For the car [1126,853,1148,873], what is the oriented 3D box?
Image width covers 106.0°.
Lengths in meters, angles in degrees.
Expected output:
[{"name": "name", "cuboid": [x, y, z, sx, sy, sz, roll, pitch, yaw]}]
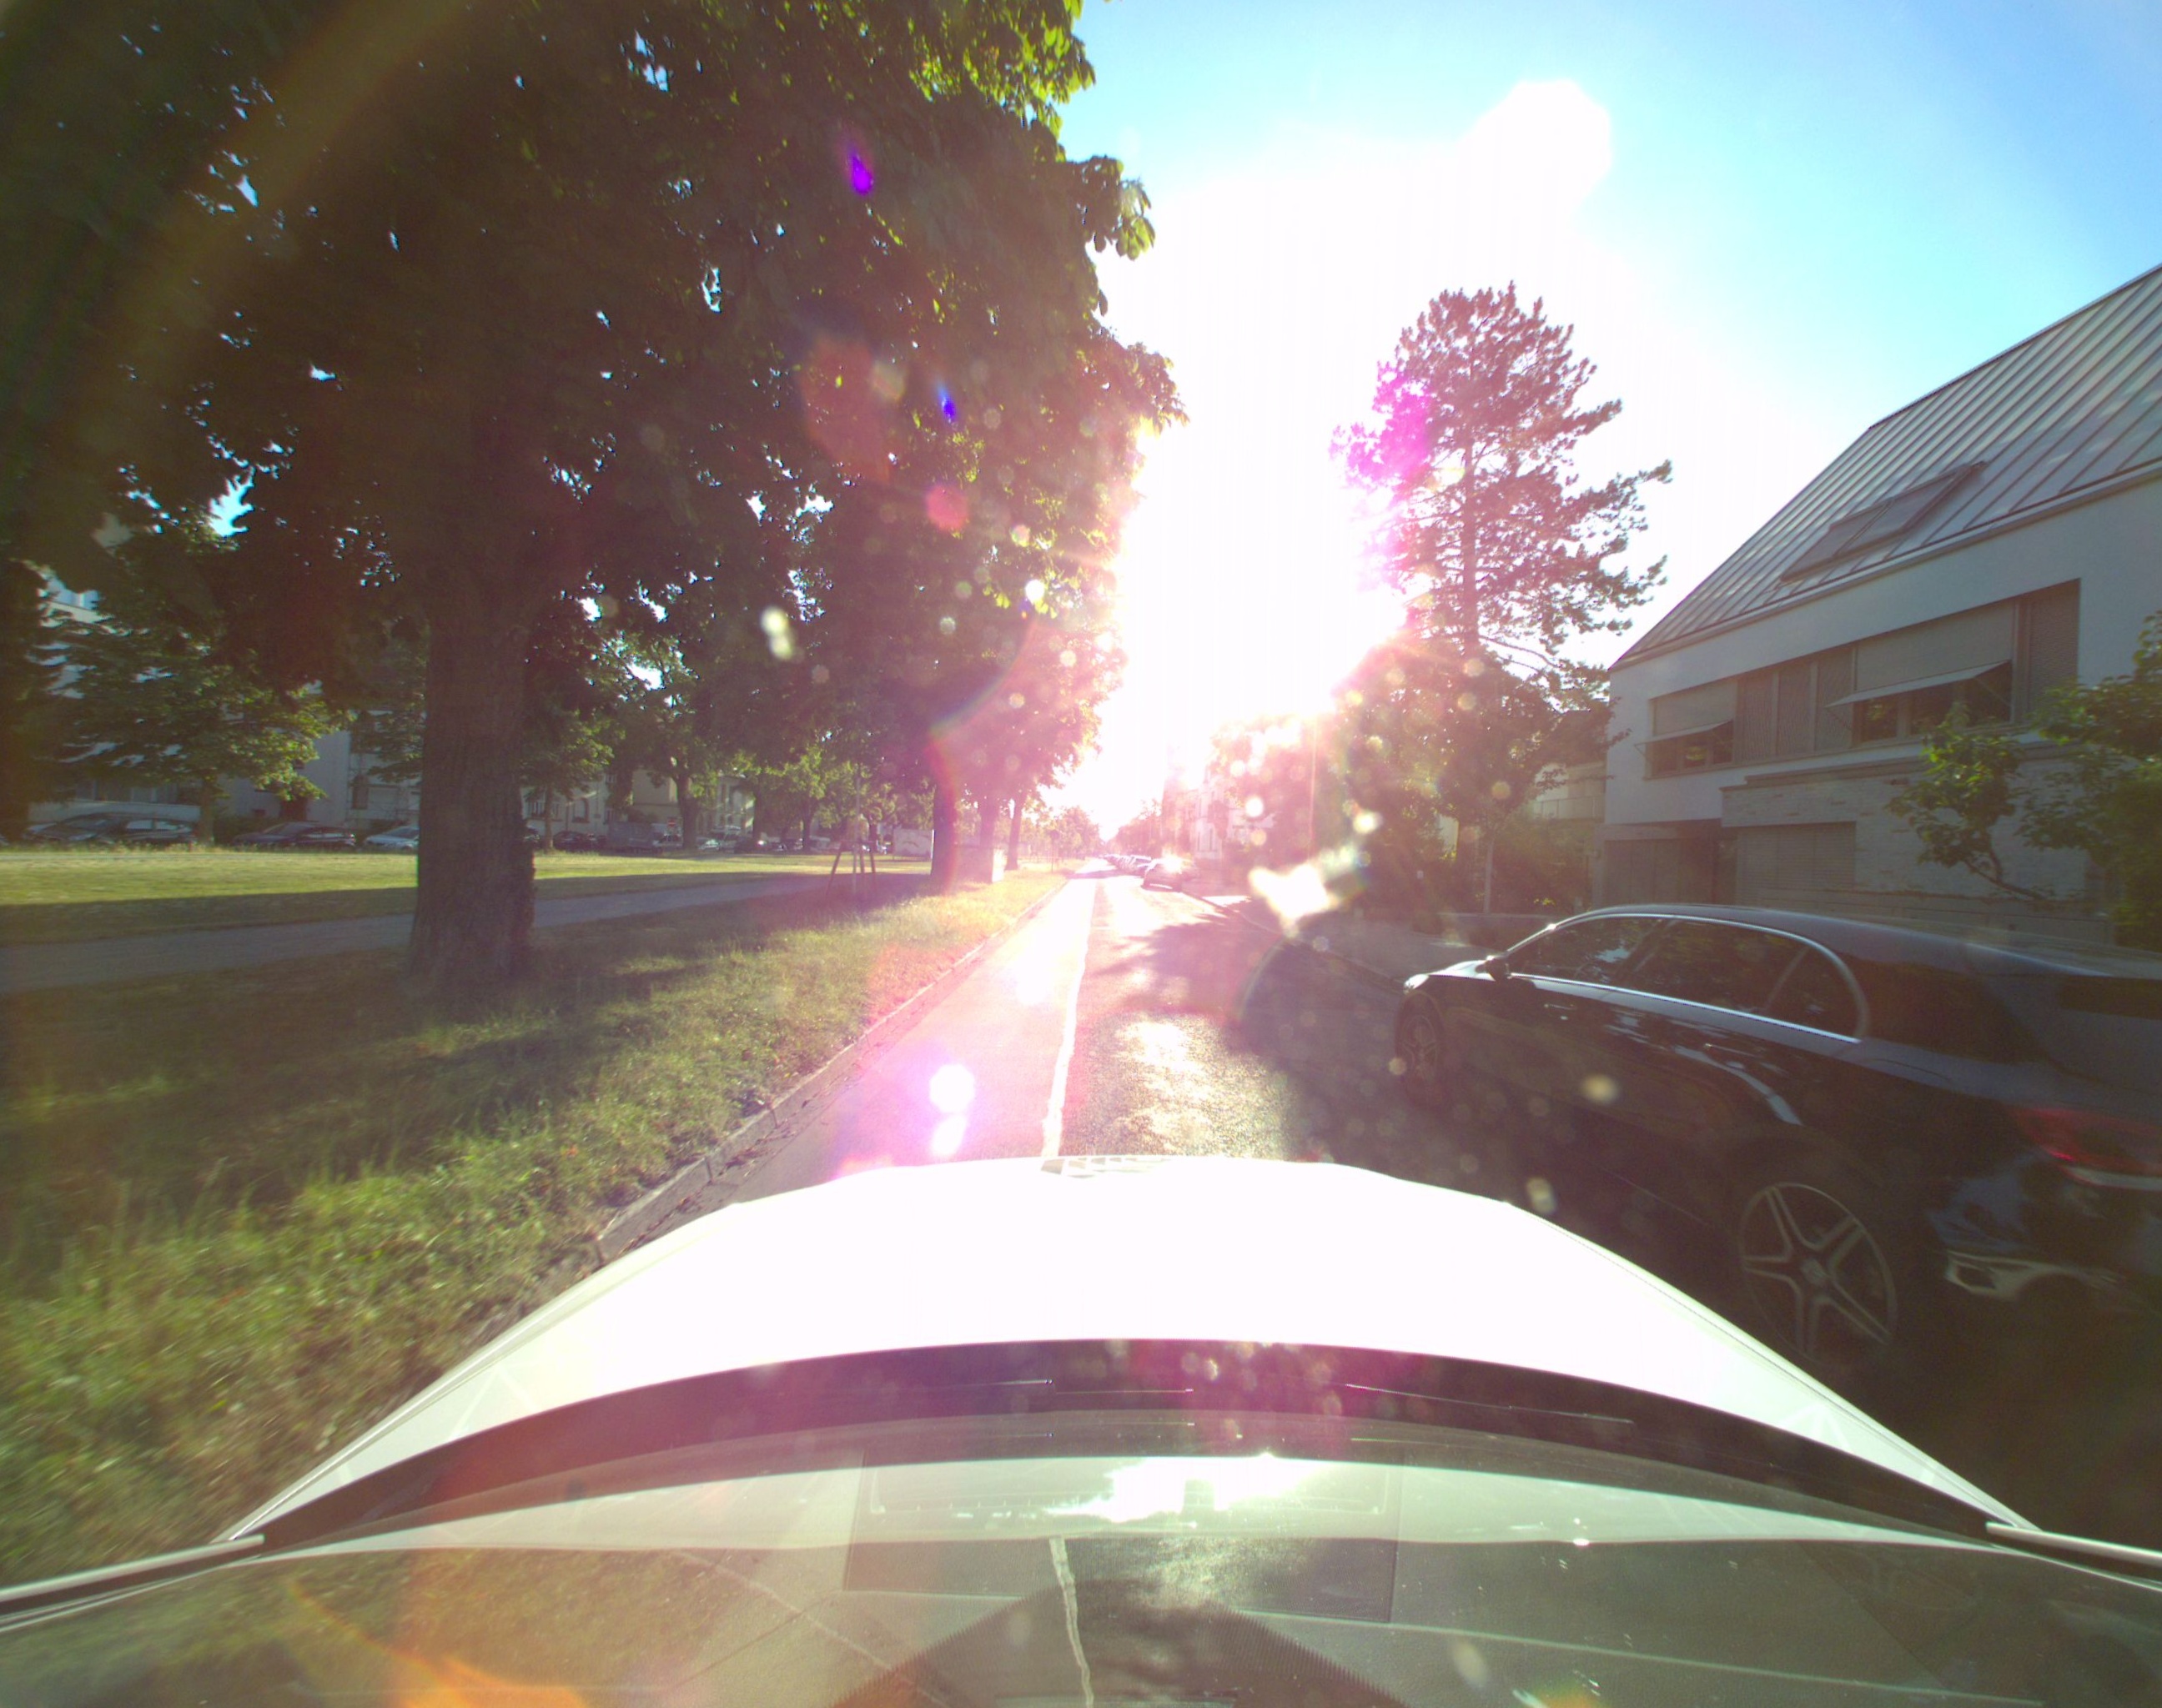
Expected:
[{"name": "car", "cuboid": [4.837, 0.771, 70.599, 1.679, 1.651, 4.101, 3, 0, 1]}]

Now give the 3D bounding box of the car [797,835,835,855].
[{"name": "car", "cuboid": [-31.447, -1.076, 96.869, 2.525, 2.236, 5.461, 2, 0, 2]}]

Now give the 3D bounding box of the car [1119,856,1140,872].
[{"name": "car", "cuboid": [4.731, 0.979, 79.489, 1.755, 1.420, 4.000, 3, 0, 0]}]

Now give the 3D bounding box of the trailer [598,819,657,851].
[{"name": "trailer", "cuboid": [-37.871, -1.565, 68.136, 1.986, 2.428, 4.725, 3, -1, 2]}]

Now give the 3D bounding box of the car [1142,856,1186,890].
[{"name": "car", "cuboid": [4.134, 0.933, 41.206, 1.750, 1.420, 4.073, 9, 0, 2]}]

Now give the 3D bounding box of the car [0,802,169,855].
[{"name": "car", "cuboid": [-39.216, -0.938, 32.041, 1.988, 1.783, 3.998, 3, -1, -1]}]

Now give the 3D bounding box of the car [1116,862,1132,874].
[{"name": "car", "cuboid": [5.542, 1.788, 105.590, 1.986, 1.464, 4.002, 3, -1, 2]}]

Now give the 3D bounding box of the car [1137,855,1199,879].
[{"name": "car", "cuboid": [5.943, 0.869, 55.367, 3.962, 1.420, 1.772, 2, 1, 10]}]

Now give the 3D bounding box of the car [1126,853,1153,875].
[{"name": "car", "cuboid": [4.627, 0.781, 64.587, 1.753, 1.605, 4.358, 3, 0, 0]}]

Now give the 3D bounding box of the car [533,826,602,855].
[{"name": "car", "cuboid": [-38.352, -0.973, 60.957, 1.987, 1.953, 4.750, 3, -1, 0]}]

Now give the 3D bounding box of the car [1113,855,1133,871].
[{"name": "car", "cuboid": [4.324, 0.927, 84.781, 1.753, 1.605, 4.358, 3, 0, 0]}]

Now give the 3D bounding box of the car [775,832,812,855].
[{"name": "car", "cuboid": [-31.554, -1.141, 89.546, 1.986, 2.250, 5.188, 3, -1, 1]}]

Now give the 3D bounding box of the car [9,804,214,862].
[{"name": "car", "cuboid": [-32.877, -0.639, 27.829, 1.985, 1.684, 4.004, 3, -1, 4]}]

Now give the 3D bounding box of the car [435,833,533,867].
[{"name": "car", "cuboid": [-32.511, -0.191, 44.514, 1.985, 1.649, 4.257, 3, -1, 3]}]

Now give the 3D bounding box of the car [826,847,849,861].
[{"name": "car", "cuboid": [-36.814, -0.017, 123.198, 1.986, 2.014, 4.485, 1, -1, 1]}]

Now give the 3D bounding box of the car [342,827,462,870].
[{"name": "car", "cuboid": [-32.799, -0.218, 39.545, 1.985, 1.860, 4.257, 3, -1, 3]}]

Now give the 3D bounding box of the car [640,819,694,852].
[{"name": "car", "cuboid": [-37.718, -1.649, 74.353, 1.986, 2.673, 5.188, 3, -1, 2]}]

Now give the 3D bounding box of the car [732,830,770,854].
[{"name": "car", "cuboid": [-31.816, -1.145, 78.574, 1.678, 2.176, 4.316, 3, -1, 2]}]

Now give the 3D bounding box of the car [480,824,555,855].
[{"name": "car", "cuboid": [-38.470, -0.937, 55.739, 1.988, 1.876, 4.493, 3, -1, -1]}]

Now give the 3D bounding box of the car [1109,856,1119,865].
[{"name": "car", "cuboid": [6.670, 1.295, 166.319, 1.973, 1.683, 4.002, 3, -1, 2]}]

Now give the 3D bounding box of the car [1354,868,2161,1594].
[{"name": "car", "cuboid": [2.981, 0.897, 3.900, 1.744, 1.477, 4.286, 5, 0, -1]}]

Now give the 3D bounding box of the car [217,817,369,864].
[{"name": "car", "cuboid": [-32.855, -0.508, 34.144, 1.985, 1.721, 4.257, 3, -1, 3]}]

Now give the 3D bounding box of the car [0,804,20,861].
[{"name": "car", "cuboid": [-33.260, -0.741, 22.653, 1.985, 1.684, 4.004, 3, -1, 4]}]

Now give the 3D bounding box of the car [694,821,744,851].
[{"name": "car", "cuboid": [-37.651, -1.813, 84.920, 2.429, 2.922, 5.819, 1, -1, 1]}]

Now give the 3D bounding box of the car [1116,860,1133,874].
[{"name": "car", "cuboid": [5.040, 1.493, 94.985, 1.755, 1.521, 3.999, 4, -1, 0]}]

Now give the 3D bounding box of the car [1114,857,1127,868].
[{"name": "car", "cuboid": [6.418, 1.391, 132.056, 1.986, 1.629, 4.002, 3, -1, 2]}]
